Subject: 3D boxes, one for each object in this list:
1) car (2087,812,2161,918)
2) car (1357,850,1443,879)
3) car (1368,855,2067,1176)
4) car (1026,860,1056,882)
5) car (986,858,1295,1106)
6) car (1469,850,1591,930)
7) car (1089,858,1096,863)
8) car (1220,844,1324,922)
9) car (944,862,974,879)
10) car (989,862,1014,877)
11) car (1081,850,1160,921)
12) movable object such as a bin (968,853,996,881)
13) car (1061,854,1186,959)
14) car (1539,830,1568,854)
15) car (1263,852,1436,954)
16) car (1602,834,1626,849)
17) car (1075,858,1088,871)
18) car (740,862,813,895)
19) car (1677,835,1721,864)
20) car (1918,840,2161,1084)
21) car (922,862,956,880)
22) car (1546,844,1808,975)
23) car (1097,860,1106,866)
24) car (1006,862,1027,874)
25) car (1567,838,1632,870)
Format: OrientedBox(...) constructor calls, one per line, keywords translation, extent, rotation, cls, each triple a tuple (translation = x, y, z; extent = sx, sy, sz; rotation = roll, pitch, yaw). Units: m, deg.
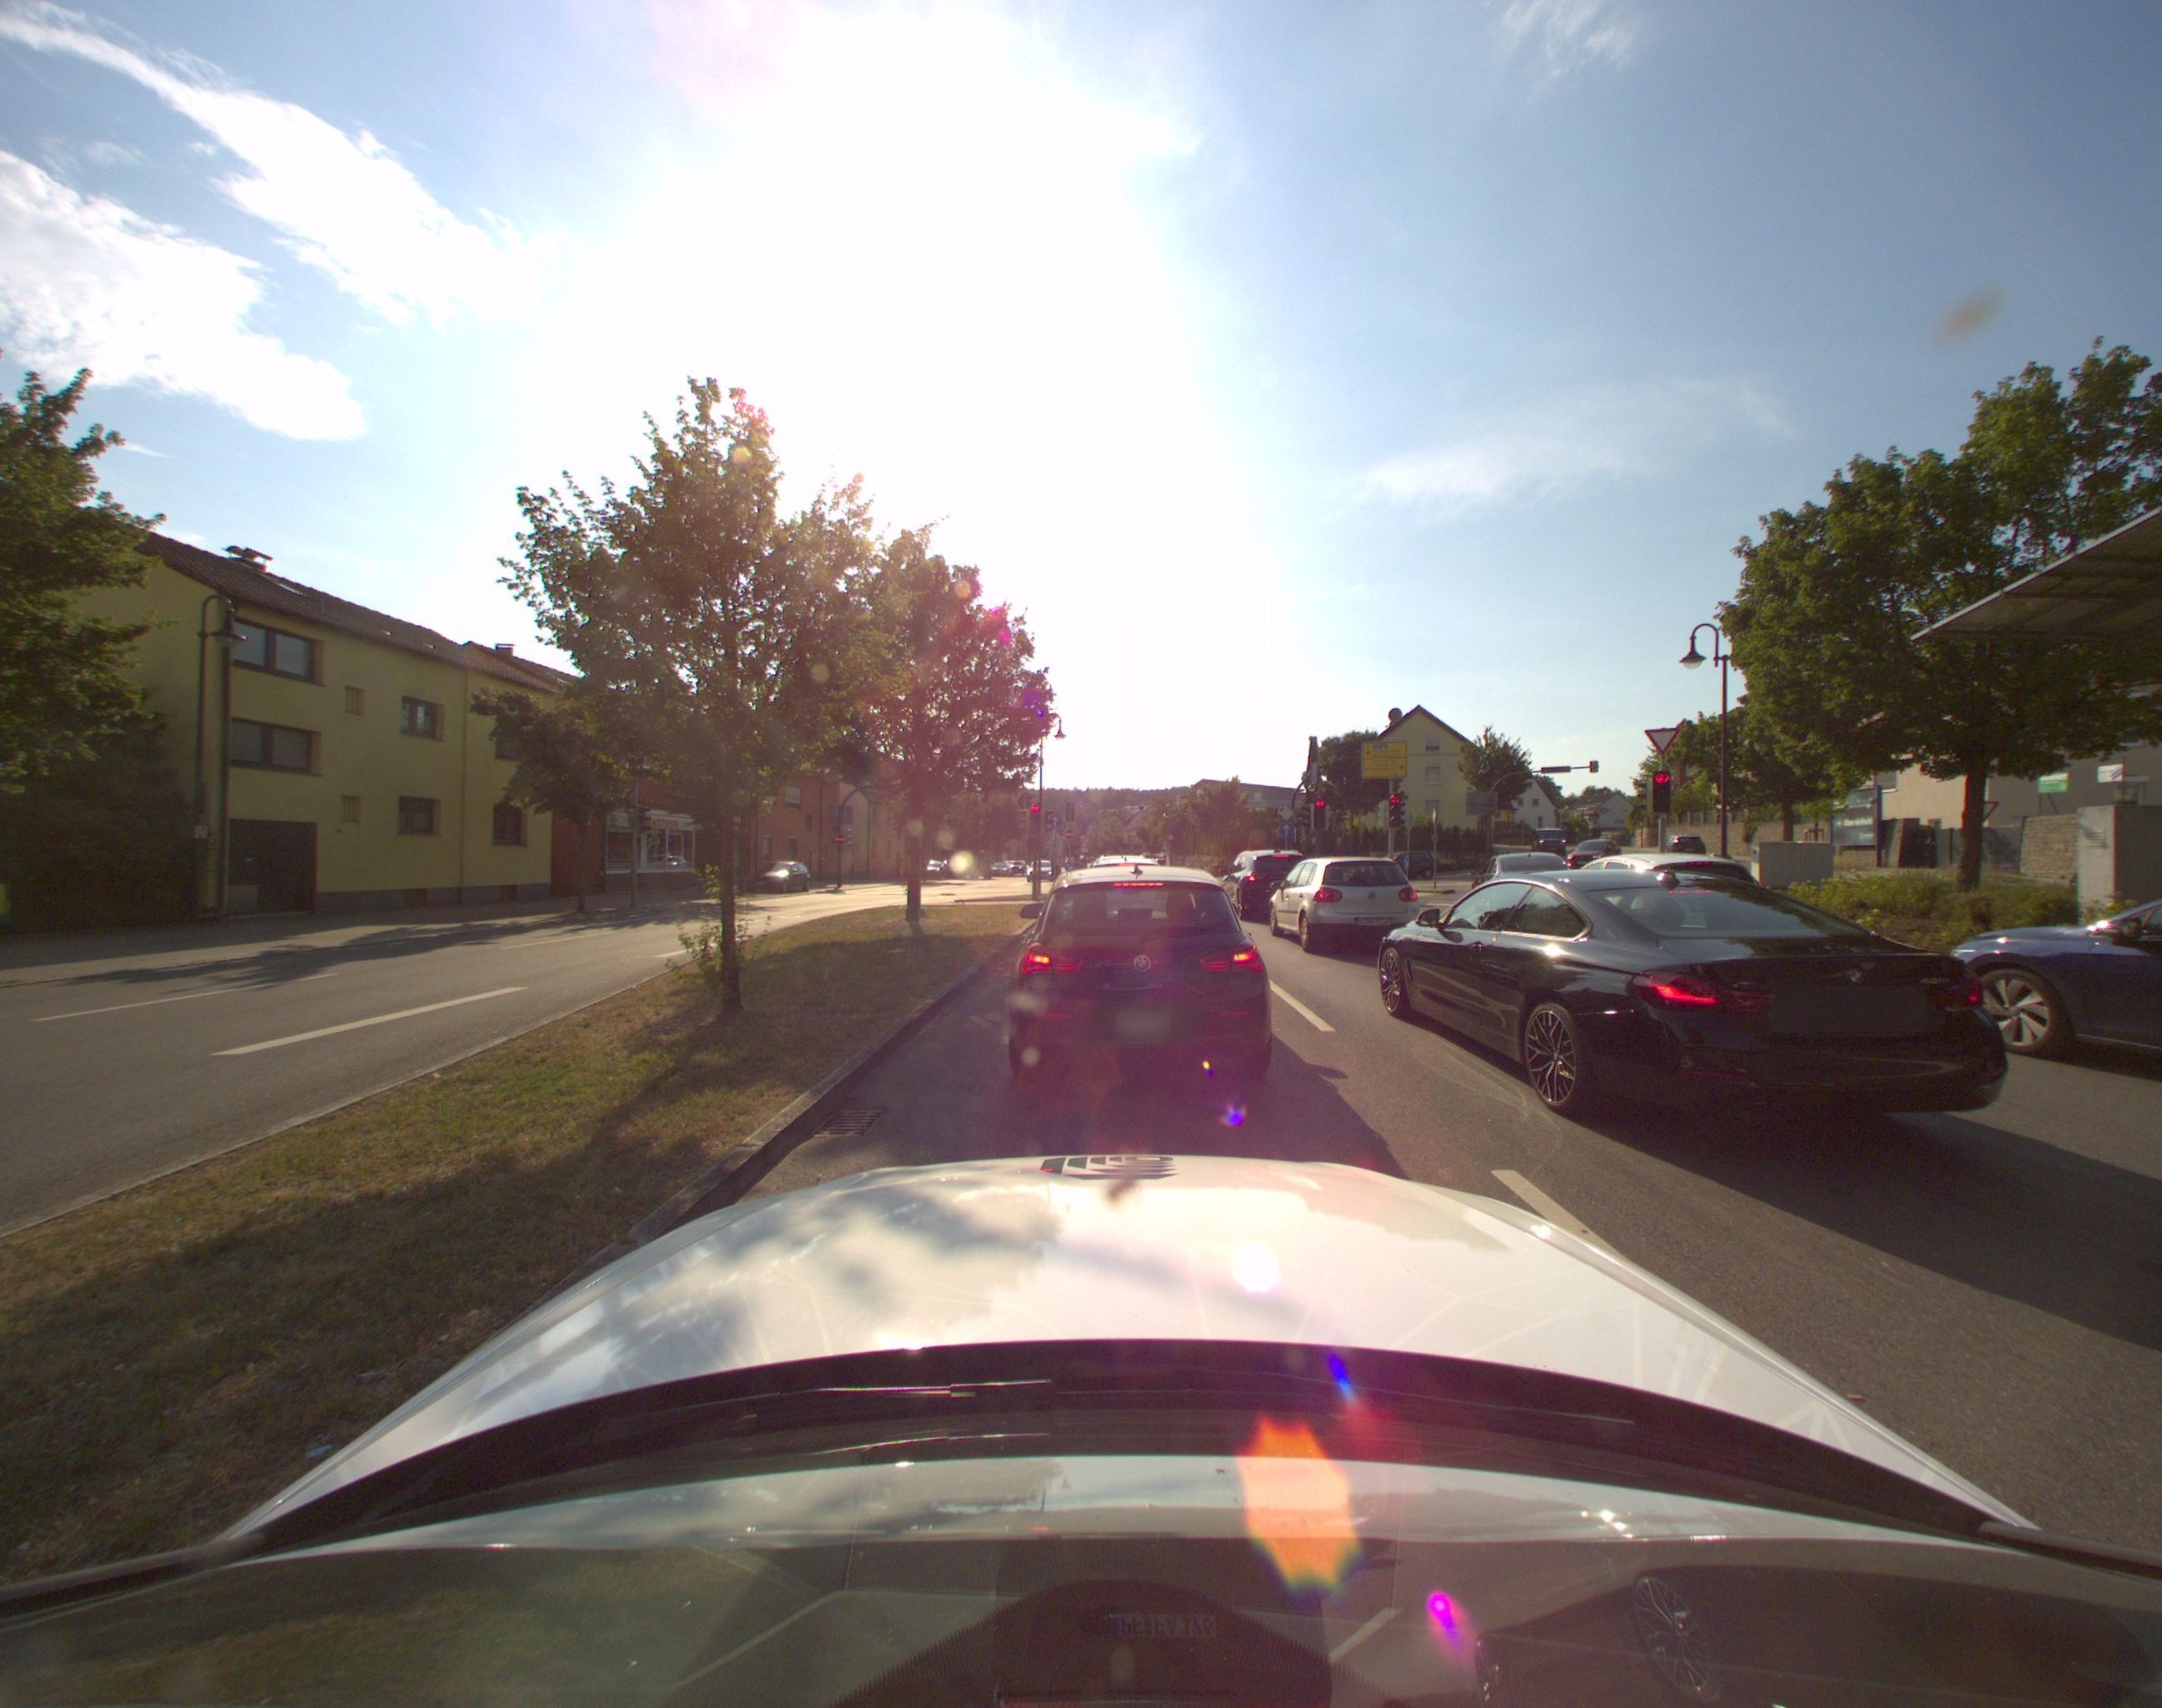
OrientedBox(translation=(18.495, 0.152, 12.383), extent=(3.793, 1.632, 1.784), rotation=(0, 0, 10), cls="car")
OrientedBox(translation=(17.349, 0.561, 44.358), extent=(3.974, 1.489, 1.848), rotation=(0, 0, -1), cls="car")
OrientedBox(translation=(3.621, 0.737, 5.822), extent=(1.755, 1.397, 4.283), rotation=(-2, 0, 2), cls="car")
OrientedBox(translation=(-2.817, 1.170, 57.931), extent=(1.832, 1.482, 4.002), rotation=(-1, 0, 2), cls="car")
OrientedBox(translation=(0.443, 0.770, 6.967), extent=(1.781, 1.397, 4.283), rotation=(-2, 0, 2), cls="car")
OrientedBox(translation=(9.884, 0.709, 18.237), extent=(1.642, 1.542, 4.420), rotation=(-2, 0, 19), cls="car")
OrientedBox(translation=(3.485, 2.094, 251.536), extent=(1.729, 1.301, 3.804), rotation=(4, 0, 5), cls="car")
OrientedBox(translation=(4.571, 0.645, 20.044), extent=(1.755, 1.656, 3.905), rotation=(-2, 0, 2), cls="car")
OrientedBox(translation=(-11.042, 1.461, 73.857), extent=(1.729, 1.301, 4.005), rotation=(4, 0, 5), cls="car")
OrientedBox(translation=(-7.977, 1.544, 81.810), extent=(1.729, 1.301, 3.804), rotation=(4, 0, 5), cls="car")
OrientedBox(translation=(1.022, 0.736, 21.150), extent=(1.781, 1.594, 4.283), rotation=(-2, 0, 2), cls="car")
OrientedBox(translation=(-8.698, 1.122, 71.907), extent=(1.729, 2.442, 4.452), rotation=(-1, 0, 3), cls="movable object such as a bin")
OrientedBox(translation=(0.721, 0.777, 14.111), extent=(1.781, 1.494, 4.283), rotation=(-2, 0, 2), cls="car")
OrientedBox(translation=(35.980, -0.875, 61.935), extent=(1.824, 1.739, 4.814), rotation=(-1, 0, 31), cls="car")
OrientedBox(translation=(4.323, 0.712, 13.762), extent=(1.755, 1.426, 3.905), rotation=(-2, 0, 2), cls="car")
OrientedBox(translation=(64.400, -1.489, 98.293), extent=(1.946, 1.680, 4.242), rotation=(-2, 0, 39), cls="car")
OrientedBox(translation=(0.089, 1.958, 150.448), extent=(2.076, 2.394, 5.531), rotation=(0, 0, 2), cls="car")
OrientedBox(translation=(-14.135, 1.110, 38.032), extent=(1.730, 1.301, 4.002), rotation=(4, 0, 2), cls="car")
OrientedBox(translation=(38.264, -0.279, 50.497), extent=(1.945, 1.680, 4.242), rotation=(-2, 0, 35), cls="car")
OrientedBox(translation=(7.400, 0.649, 4.259), extent=(1.754, 1.453, 4.323), rotation=(-2, 0, 4), cls="car")
OrientedBox(translation=(-11.738, 1.417, 67.595), extent=(1.728, 1.301, 4.006), rotation=(4, 0, 6), cls="car")
OrientedBox(translation=(8.112, 0.667, 11.463), extent=(1.608, 1.542, 3.326), rotation=(-2, 0, 9), cls="car")
OrientedBox(translation=(4.832, 2.150, 191.816), extent=(1.729, 1.301, 3.804), rotation=(4, 0, 5), cls="car")
OrientedBox(translation=(-7.360, 1.609, 93.834), extent=(1.729, 1.301, 3.804), rotation=(4, 0, 5), cls="car")
OrientedBox(translation=(28.172, 0.001, 44.184), extent=(4.455, 1.641, 1.826), rotation=(0, 0, -42), cls="car")
